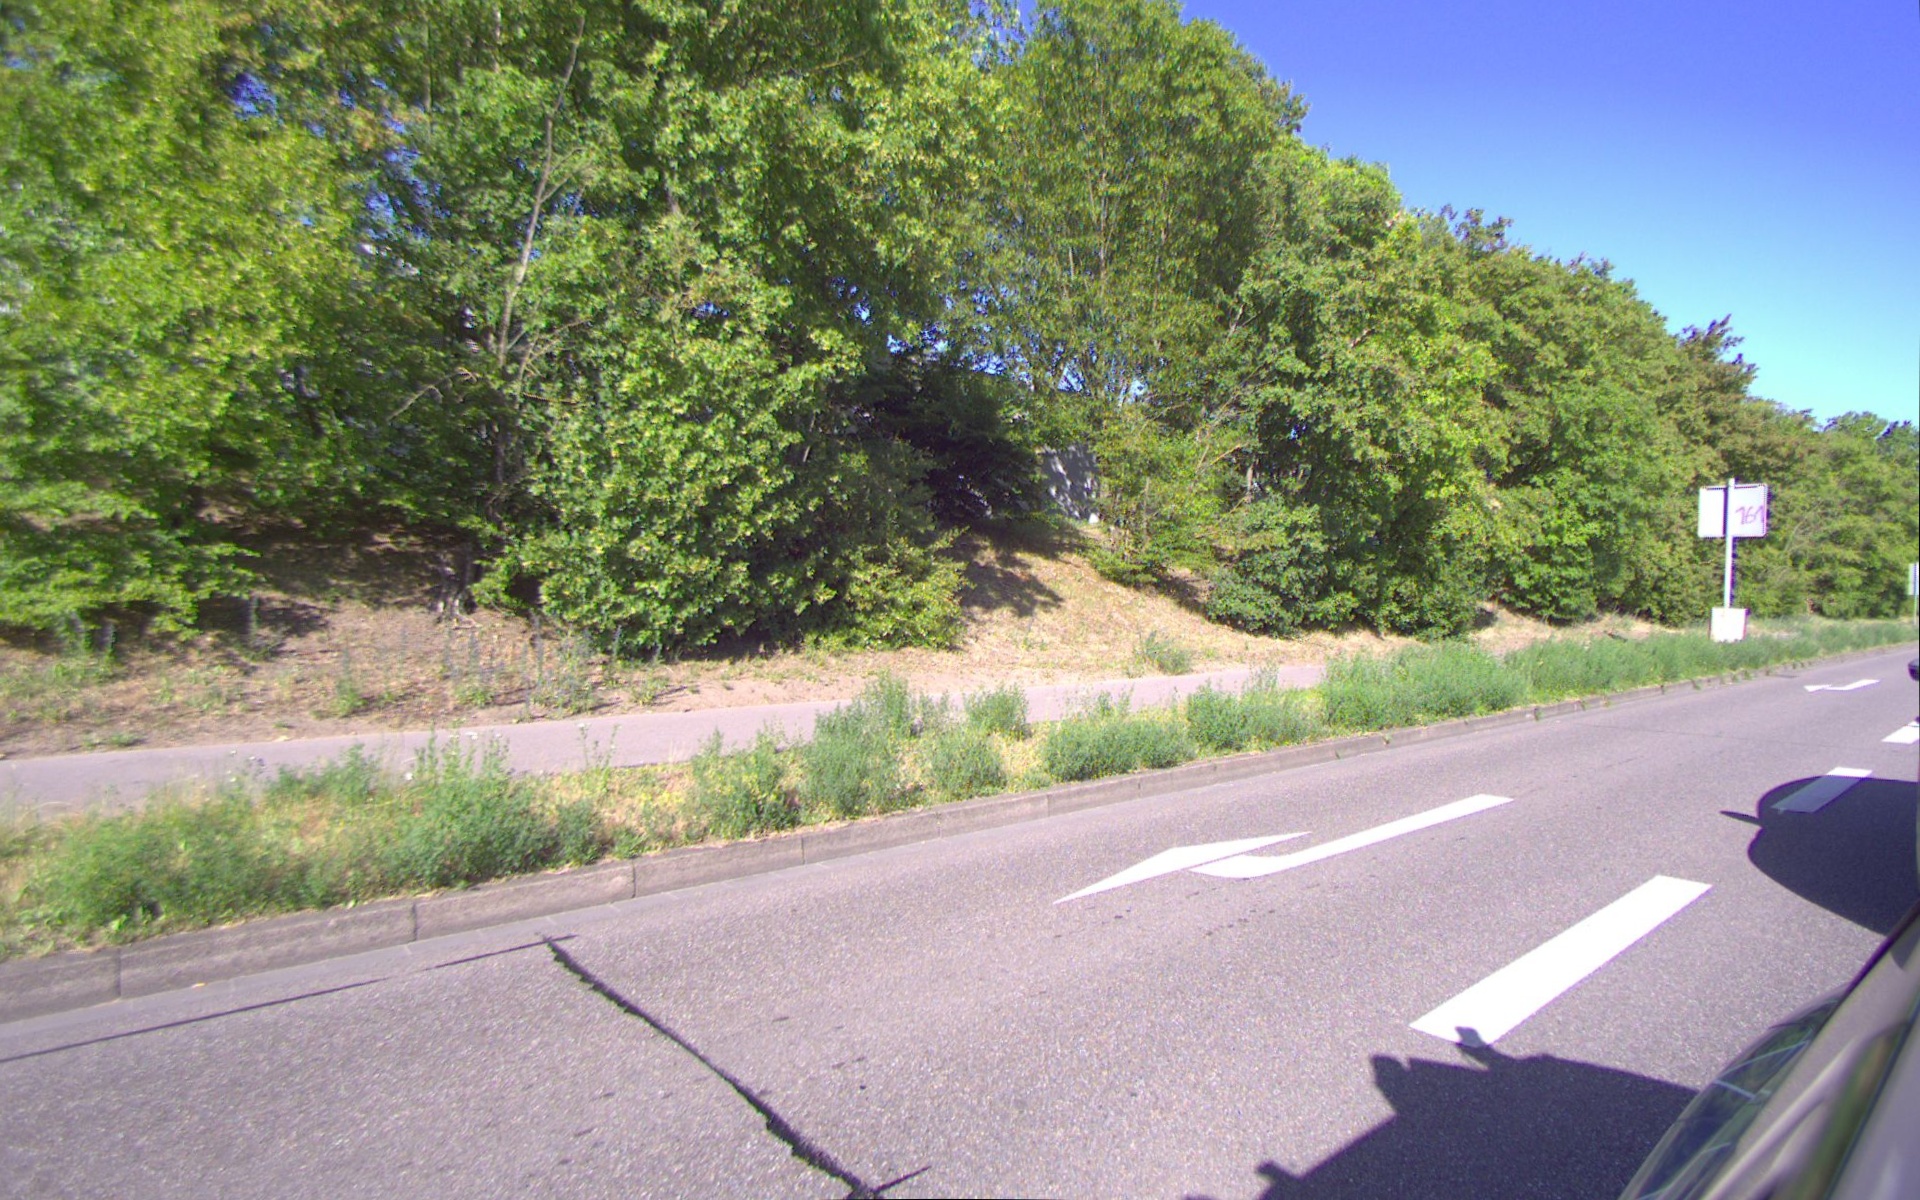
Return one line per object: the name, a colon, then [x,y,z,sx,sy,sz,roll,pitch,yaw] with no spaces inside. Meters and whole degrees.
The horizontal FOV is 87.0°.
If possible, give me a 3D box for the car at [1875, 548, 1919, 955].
car: [5.932,0.613,4.705,4.026,1.631,2.023,0,0,-41]
